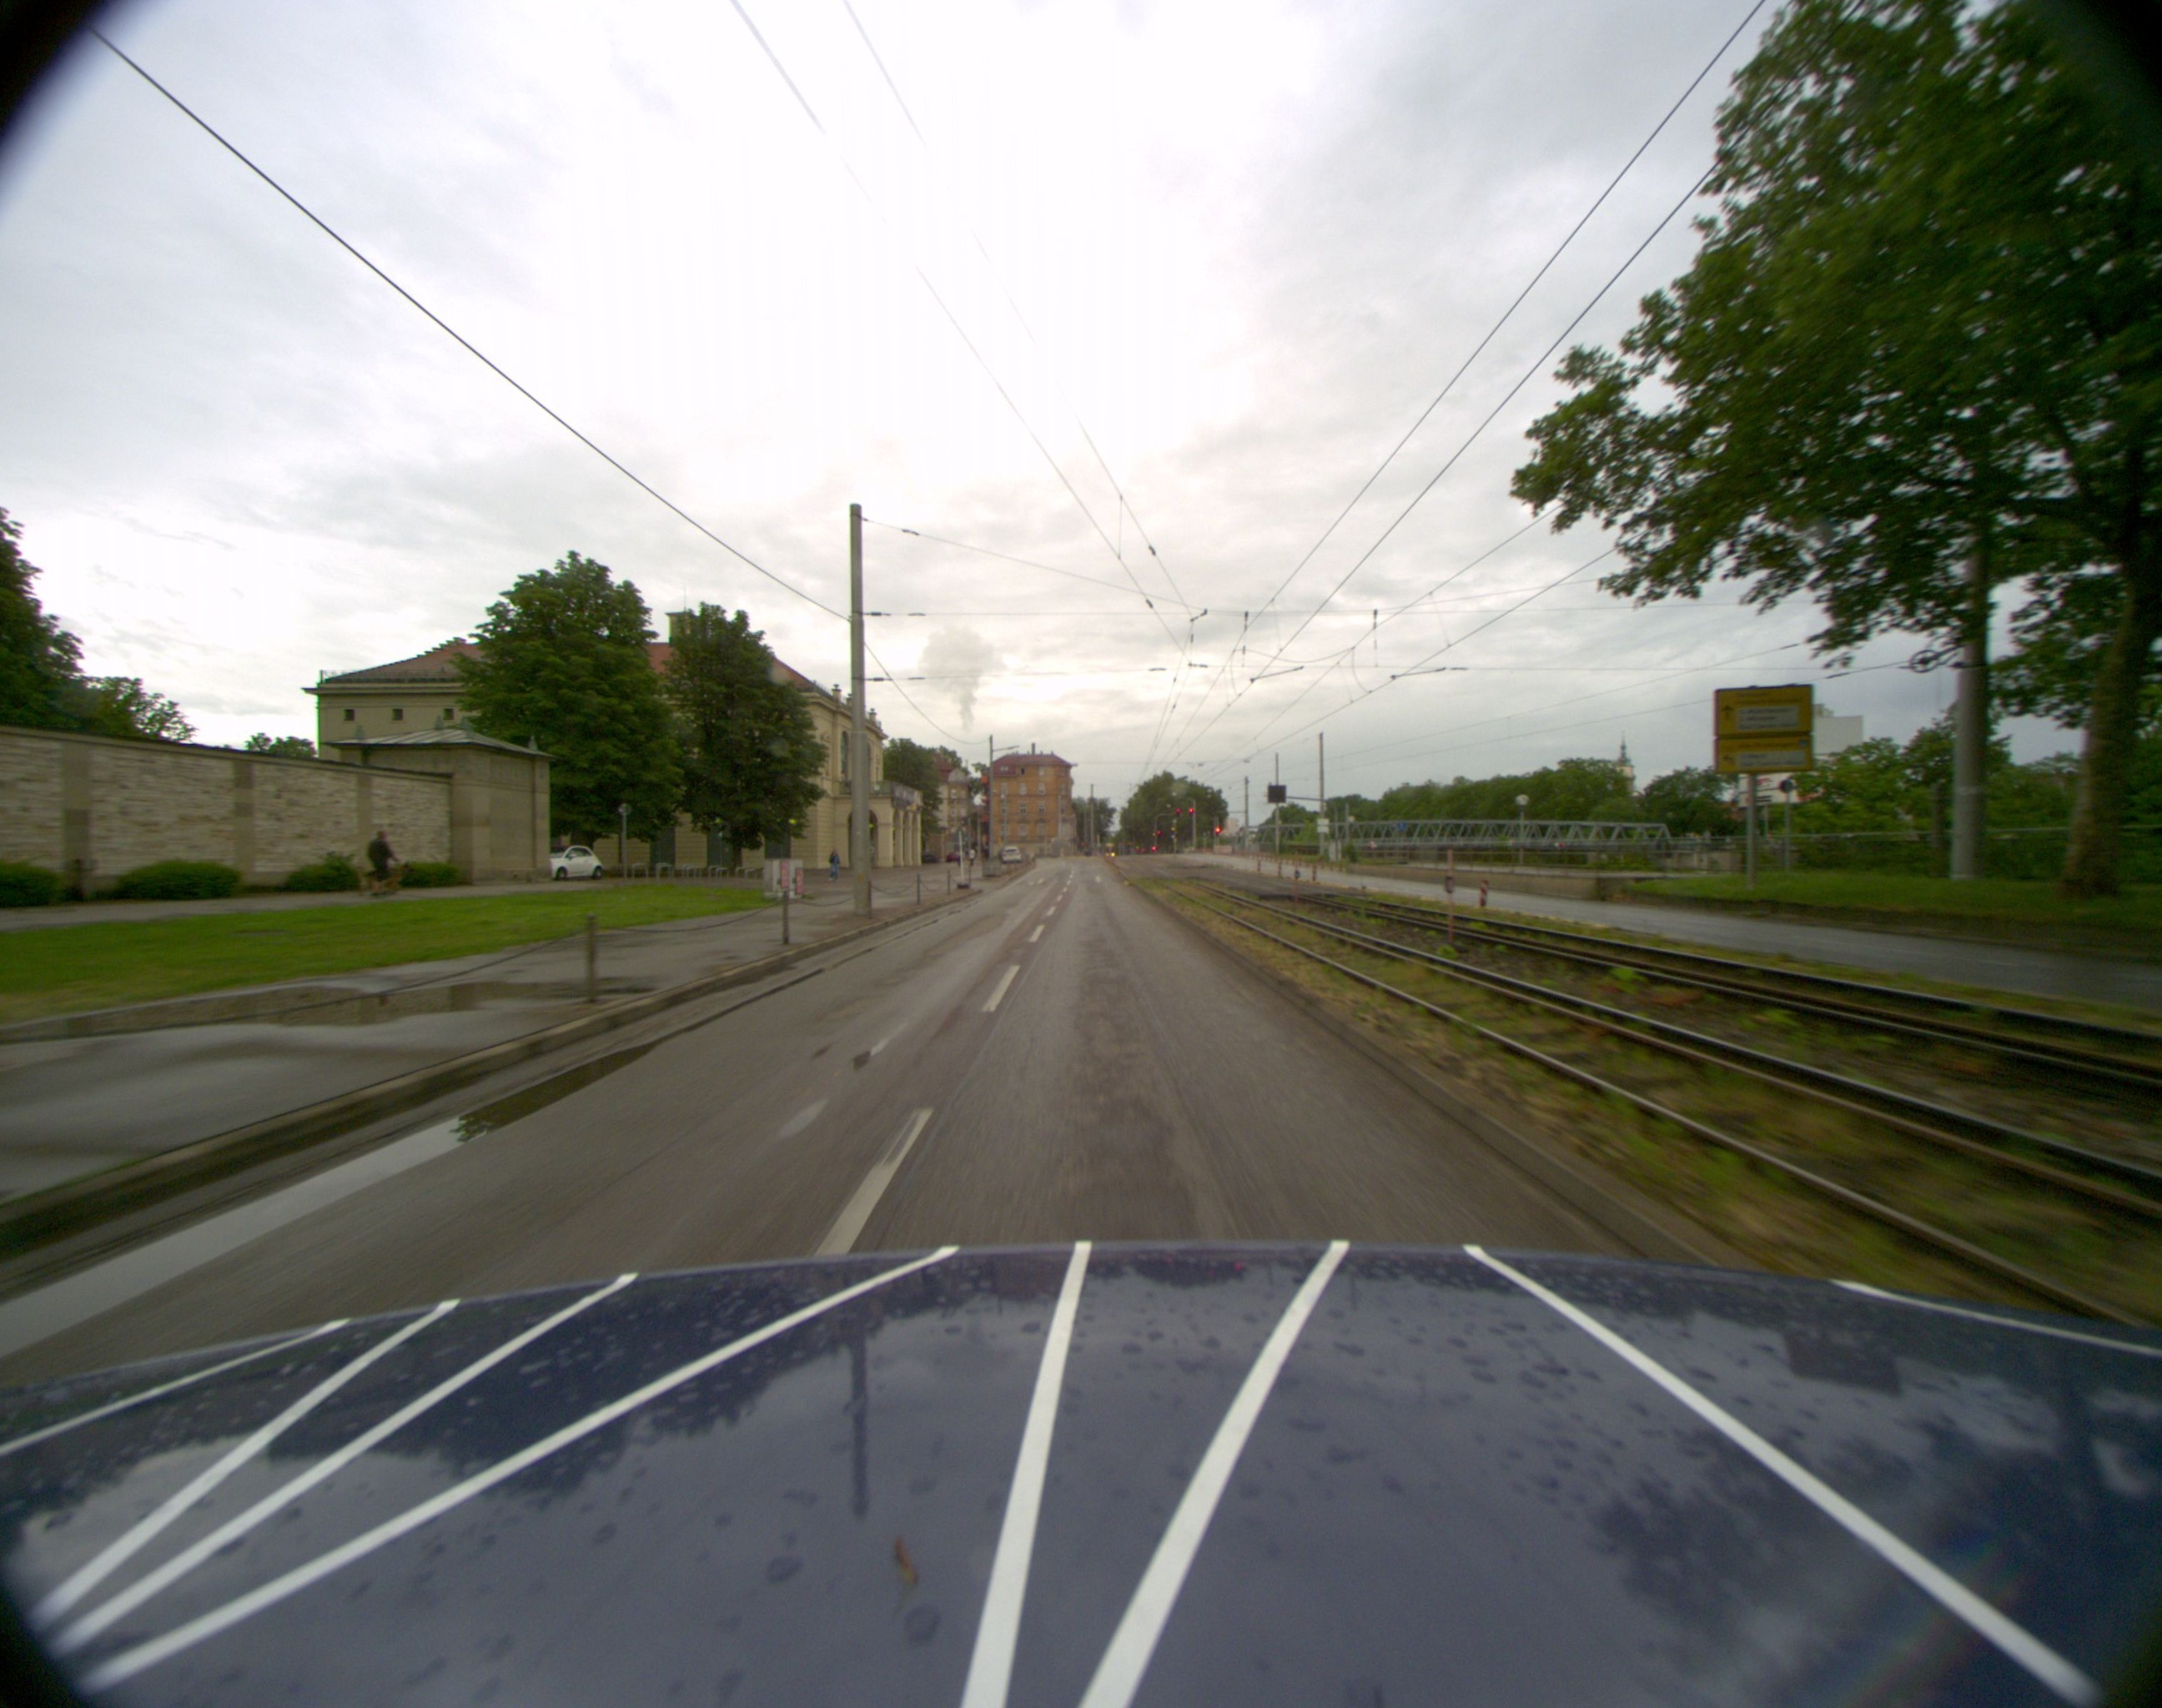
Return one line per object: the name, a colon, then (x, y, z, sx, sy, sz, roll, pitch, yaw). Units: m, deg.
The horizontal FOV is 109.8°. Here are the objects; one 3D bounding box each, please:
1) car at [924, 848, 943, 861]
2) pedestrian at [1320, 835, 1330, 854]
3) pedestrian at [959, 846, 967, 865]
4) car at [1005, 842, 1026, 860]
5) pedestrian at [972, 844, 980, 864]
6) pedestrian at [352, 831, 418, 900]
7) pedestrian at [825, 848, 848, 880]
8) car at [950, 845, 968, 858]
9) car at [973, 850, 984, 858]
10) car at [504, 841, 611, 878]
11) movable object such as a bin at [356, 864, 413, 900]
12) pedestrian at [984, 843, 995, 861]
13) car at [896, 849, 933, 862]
car: (-18.460, 0.060, 95.271, 1.864, 1.539, 4.063, -2, 1, -6)
pedestrian: (22.679, -0.878, 70.677, 0.766, 1.678, 0.618, 0, 2, -1)
pedestrian: (-10.389, 0.093, 66.806, 0.629, 1.635, 0.780, -1, 2, -6)
car: (-6.580, -0.304, 76.607, 1.844, 1.630, 4.140, -4, 1, -4)
pedestrian: (-9.109, 0.002, 66.067, 0.595, 1.726, 0.838, -1, 2, -2)
pedestrian: (-17.570, 0.282, 19.202, 0.730, 1.701, 0.981, 0, 1, 1)
pedestrian: (-12.187, 0.480, 37.837, 0.863, 1.581, 0.669, 1, 1, 27)
car: (-15.245, -0.293, 95.093, 1.831, 1.573, 3.997, -1, 1, -5)
car: (-19.802, 0.012, 146.666, 1.831, 1.573, 3.997, -1, 1, -5)
car: (-21.311, 0.266, 31.106, 1.841, 1.446, 3.598, 0, -1, 0)
movable object such as a bin: (-18.136, 0.716, 19.812, 0.343, 0.867, 1.191, 0, 1, 2)
pedestrian: (-9.531, -0.233, 79.019, 0.783, 1.797, 0.696, -4, 3, -40)
car: (-18.806, 0.178, 86.142, 3.742, 1.461, 1.729, 0, 1, 3)
